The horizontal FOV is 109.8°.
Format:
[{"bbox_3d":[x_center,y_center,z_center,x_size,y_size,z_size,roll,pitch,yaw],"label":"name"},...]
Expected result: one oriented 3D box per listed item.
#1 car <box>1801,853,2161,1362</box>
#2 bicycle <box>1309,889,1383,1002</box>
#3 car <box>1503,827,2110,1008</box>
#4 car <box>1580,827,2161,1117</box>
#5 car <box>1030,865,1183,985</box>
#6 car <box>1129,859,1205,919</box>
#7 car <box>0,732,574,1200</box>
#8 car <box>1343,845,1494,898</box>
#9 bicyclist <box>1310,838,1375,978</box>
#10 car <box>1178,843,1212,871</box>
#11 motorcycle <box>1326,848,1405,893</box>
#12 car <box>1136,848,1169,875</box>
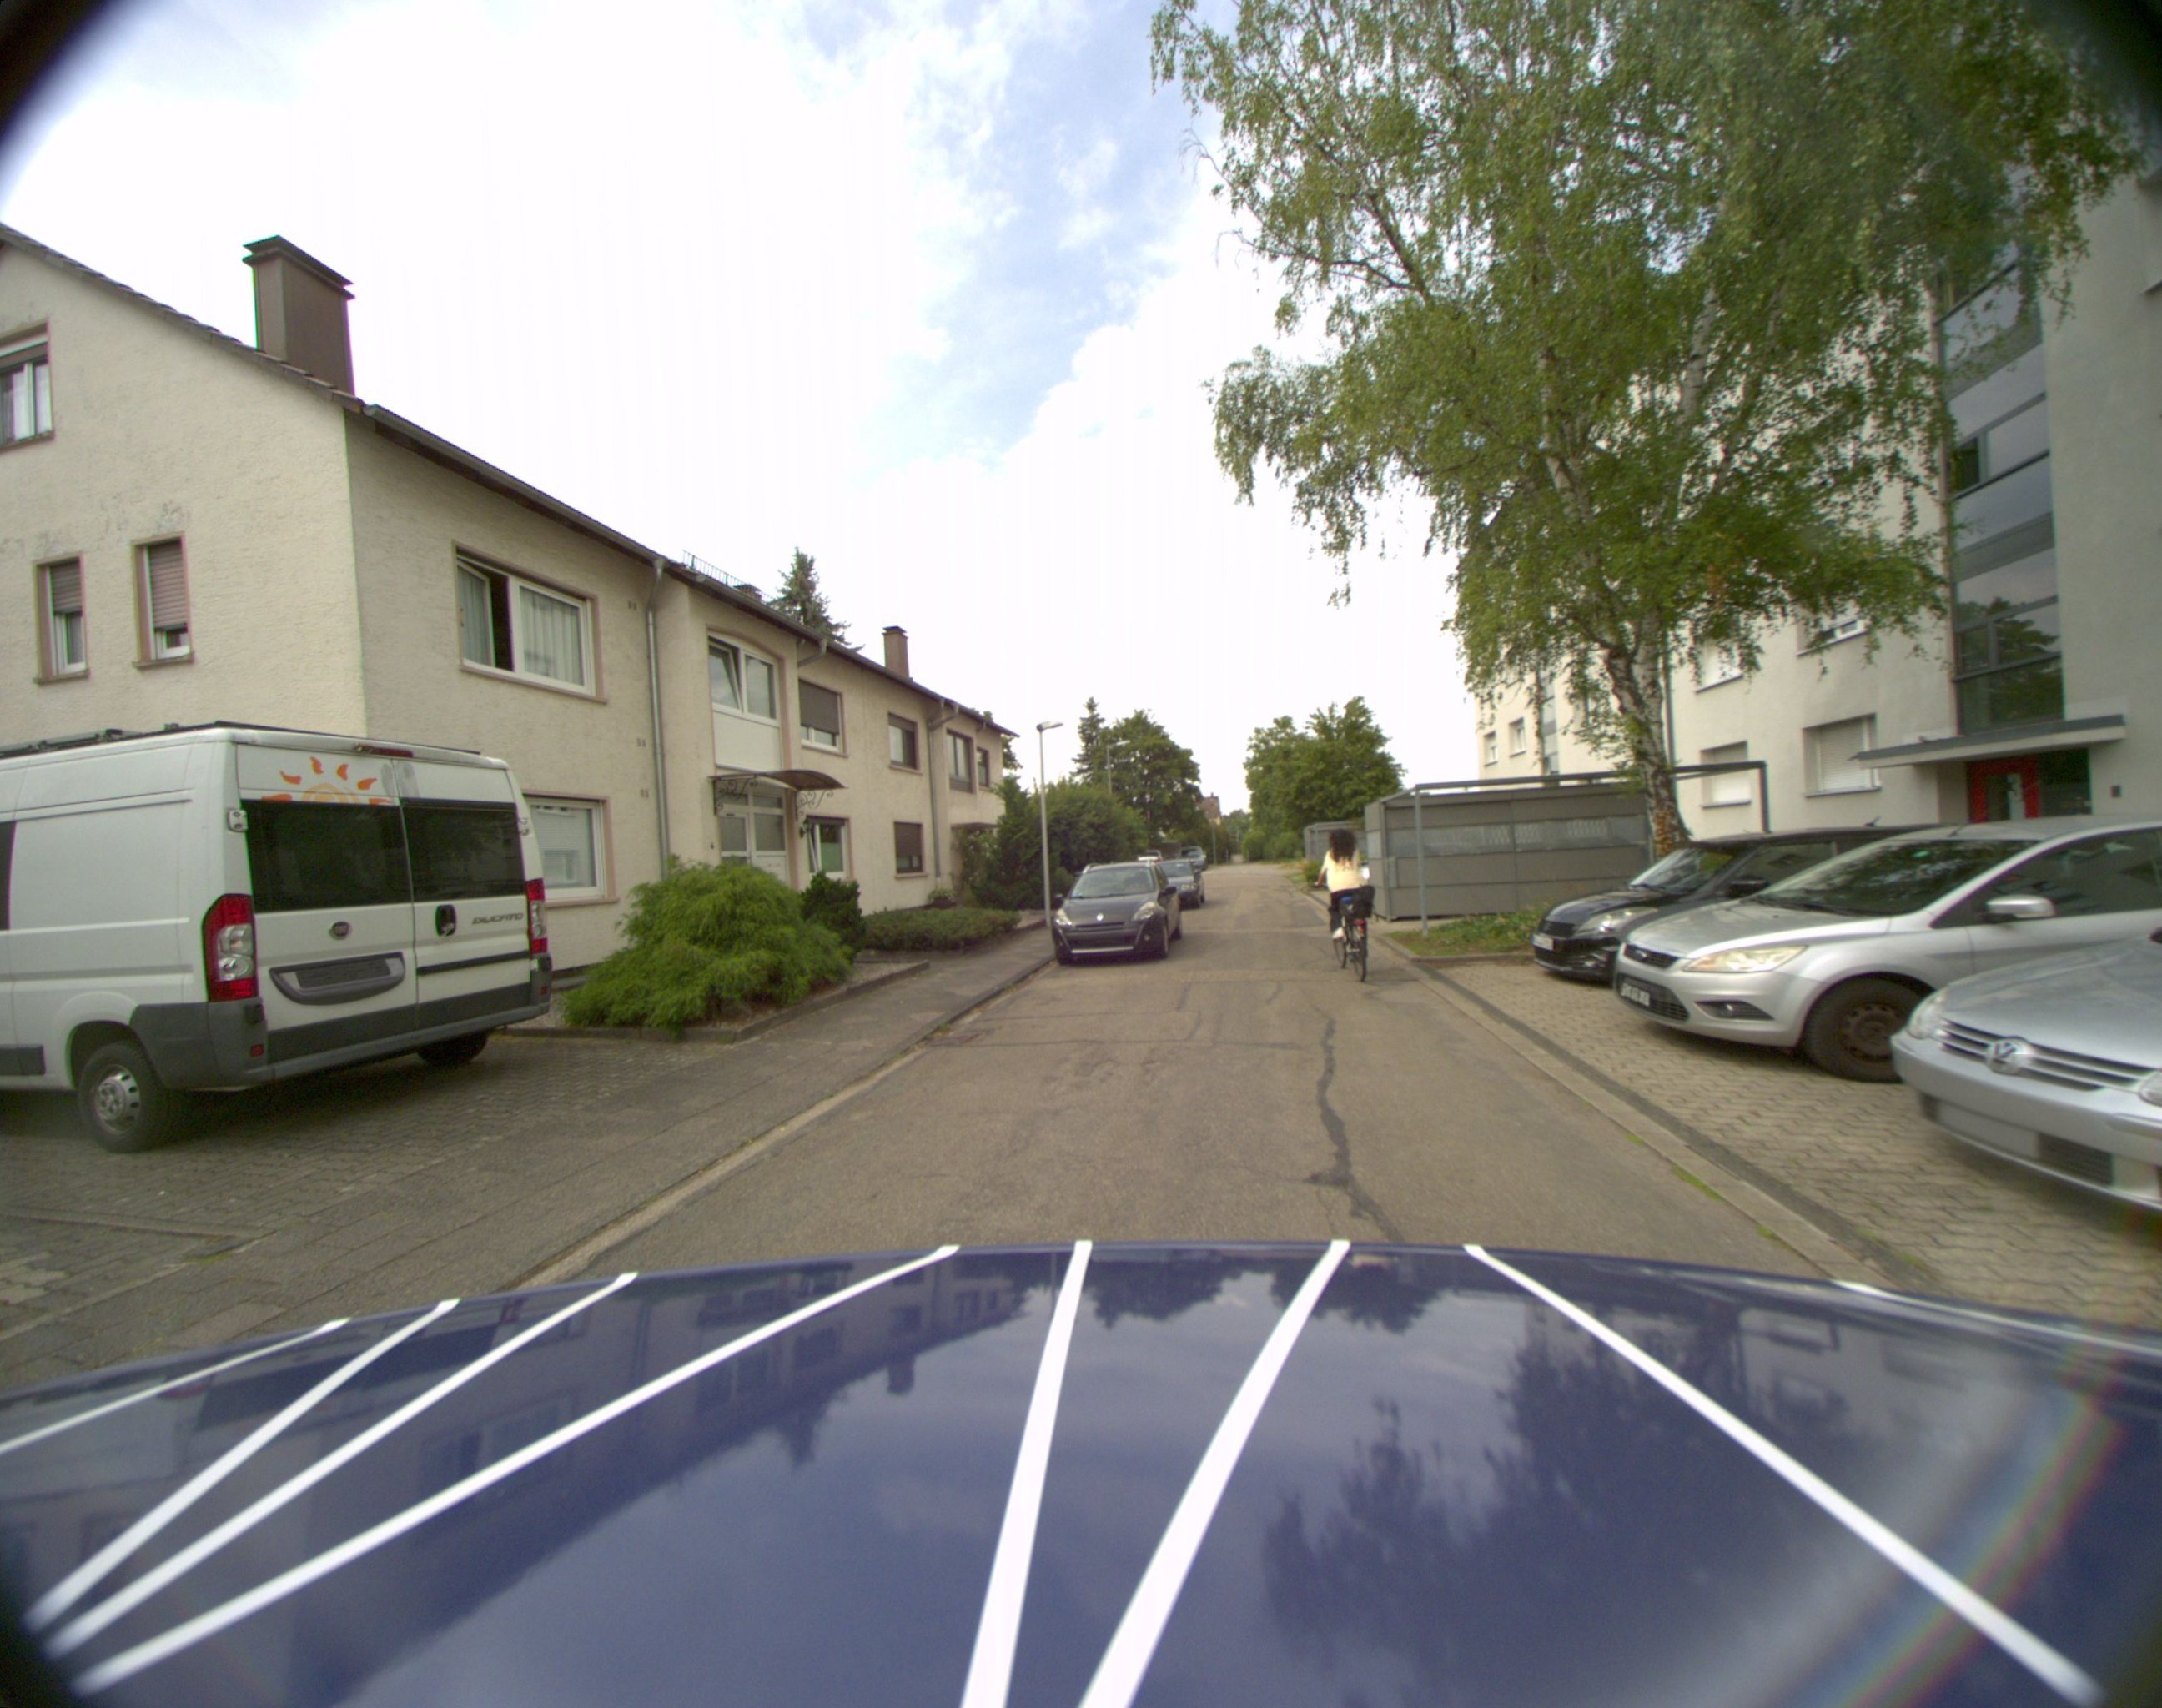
[{"bbox_3d":[5.339,0.705,2.419,4.058,1.455,1.783,-3,0,12],"label":"car"},{"bbox_3d":[3.085,1.013,8.988,0.598,1.070,2.044,-2,0,14],"label":"bicycle"},{"bbox_3d":[6.801,0.604,7.655,4.058,1.496,1.783,-3,0,12],"label":"car"},{"bbox_3d":[5.920,0.649,4.938,4.058,1.496,1.783,-3,0,12],"label":"car"},{"bbox_3d":[0.614,1.021,12.558,1.833,1.449,4.193,-5,0,10],"label":"car"},{"bbox_3d":[2.644,0.960,22.476,1.833,1.449,4.193,-5,0,10],"label":"car"},{"bbox_3d":[-6.982,0.699,5.747,5.095,2.527,2.240,-2,0,13],"label":"car"},{"bbox_3d":[10.284,0.527,23.461,3.993,1.477,1.904,-2,1,14],"label":"car"},{"bbox_3d":[3.052,0.611,8.914,0.598,1.571,0.768,-2,1,14],"label":"bicyclist"},{"bbox_3d":[7.199,0.163,47.759,1.924,1.575,4.003,-5,0,10],"label":"car"},{"bbox_3d":[9.488,0.549,25.426,2.381,1.455,0.714,-2,1,12],"label":"motorcycle"},{"bbox_3d":[4.620,0.427,48.845,1.704,1.458,4.002,-3,2,10],"label":"car"}]
